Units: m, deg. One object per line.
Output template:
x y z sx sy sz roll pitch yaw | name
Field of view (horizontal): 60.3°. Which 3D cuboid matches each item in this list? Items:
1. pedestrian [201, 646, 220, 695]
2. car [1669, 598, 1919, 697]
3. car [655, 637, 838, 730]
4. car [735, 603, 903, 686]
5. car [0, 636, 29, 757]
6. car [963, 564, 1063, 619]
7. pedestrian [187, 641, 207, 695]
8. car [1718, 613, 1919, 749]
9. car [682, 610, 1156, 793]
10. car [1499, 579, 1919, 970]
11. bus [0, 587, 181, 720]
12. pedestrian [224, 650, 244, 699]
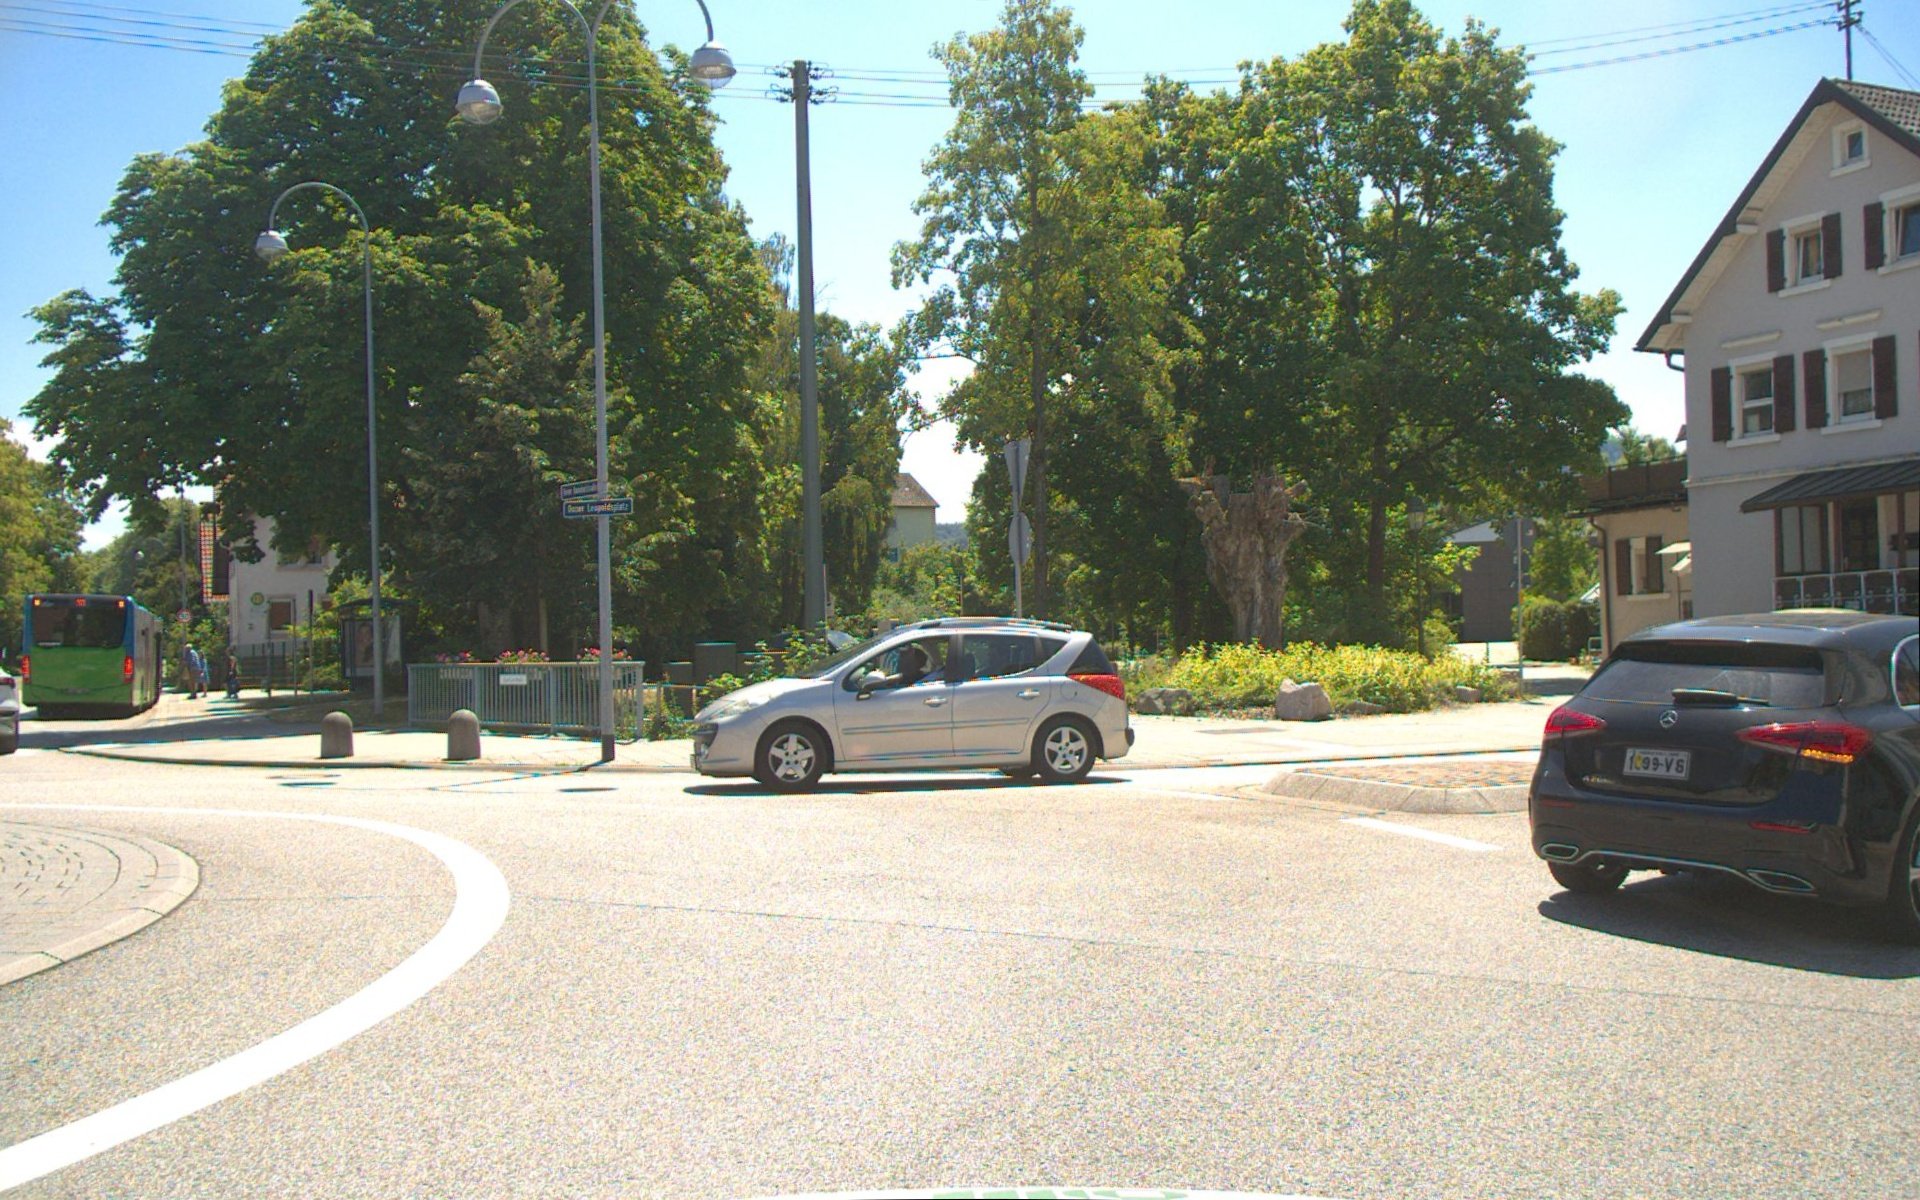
-24.194 2.271 53.405 0.484 1.549 0.537 -1 -1 -31 | pedestrian
15.328 0.861 30.606 1.728 1.669 3.972 -1 -1 -23 | car
-4.022 1.549 31.325 3.030 1.580 1.611 -1 -1 -40 | car
-3.708 1.174 43.590 3.907 2.049 1.999 -2 -1 24 | car
-15.271 1.438 24.826 1.882 1.691 4.355 -1 -1 -34 | car
2.118 -0.316 66.542 3.905 2.049 2.000 -2 -1 0 | car
-24.272 2.162 52.599 0.497 1.679 0.573 -1 -1 -31 | pedestrian
11.003 0.933 19.567 3.655 1.437 1.539 -1 -5 -22 | car
-0.430 0.897 15.393 4.125 1.543 1.738 0 -3 -16 | car
4.860 0.679 8.739 4.395 1.482 1.744 -1 3 -39 | car
-25.452 1.645 49.134 3.658 3.227 17.930 1 -2 -24 | bus
-22.094 2.266 50.356 0.484 1.479 0.525 -1 -1 -31 | pedestrian
